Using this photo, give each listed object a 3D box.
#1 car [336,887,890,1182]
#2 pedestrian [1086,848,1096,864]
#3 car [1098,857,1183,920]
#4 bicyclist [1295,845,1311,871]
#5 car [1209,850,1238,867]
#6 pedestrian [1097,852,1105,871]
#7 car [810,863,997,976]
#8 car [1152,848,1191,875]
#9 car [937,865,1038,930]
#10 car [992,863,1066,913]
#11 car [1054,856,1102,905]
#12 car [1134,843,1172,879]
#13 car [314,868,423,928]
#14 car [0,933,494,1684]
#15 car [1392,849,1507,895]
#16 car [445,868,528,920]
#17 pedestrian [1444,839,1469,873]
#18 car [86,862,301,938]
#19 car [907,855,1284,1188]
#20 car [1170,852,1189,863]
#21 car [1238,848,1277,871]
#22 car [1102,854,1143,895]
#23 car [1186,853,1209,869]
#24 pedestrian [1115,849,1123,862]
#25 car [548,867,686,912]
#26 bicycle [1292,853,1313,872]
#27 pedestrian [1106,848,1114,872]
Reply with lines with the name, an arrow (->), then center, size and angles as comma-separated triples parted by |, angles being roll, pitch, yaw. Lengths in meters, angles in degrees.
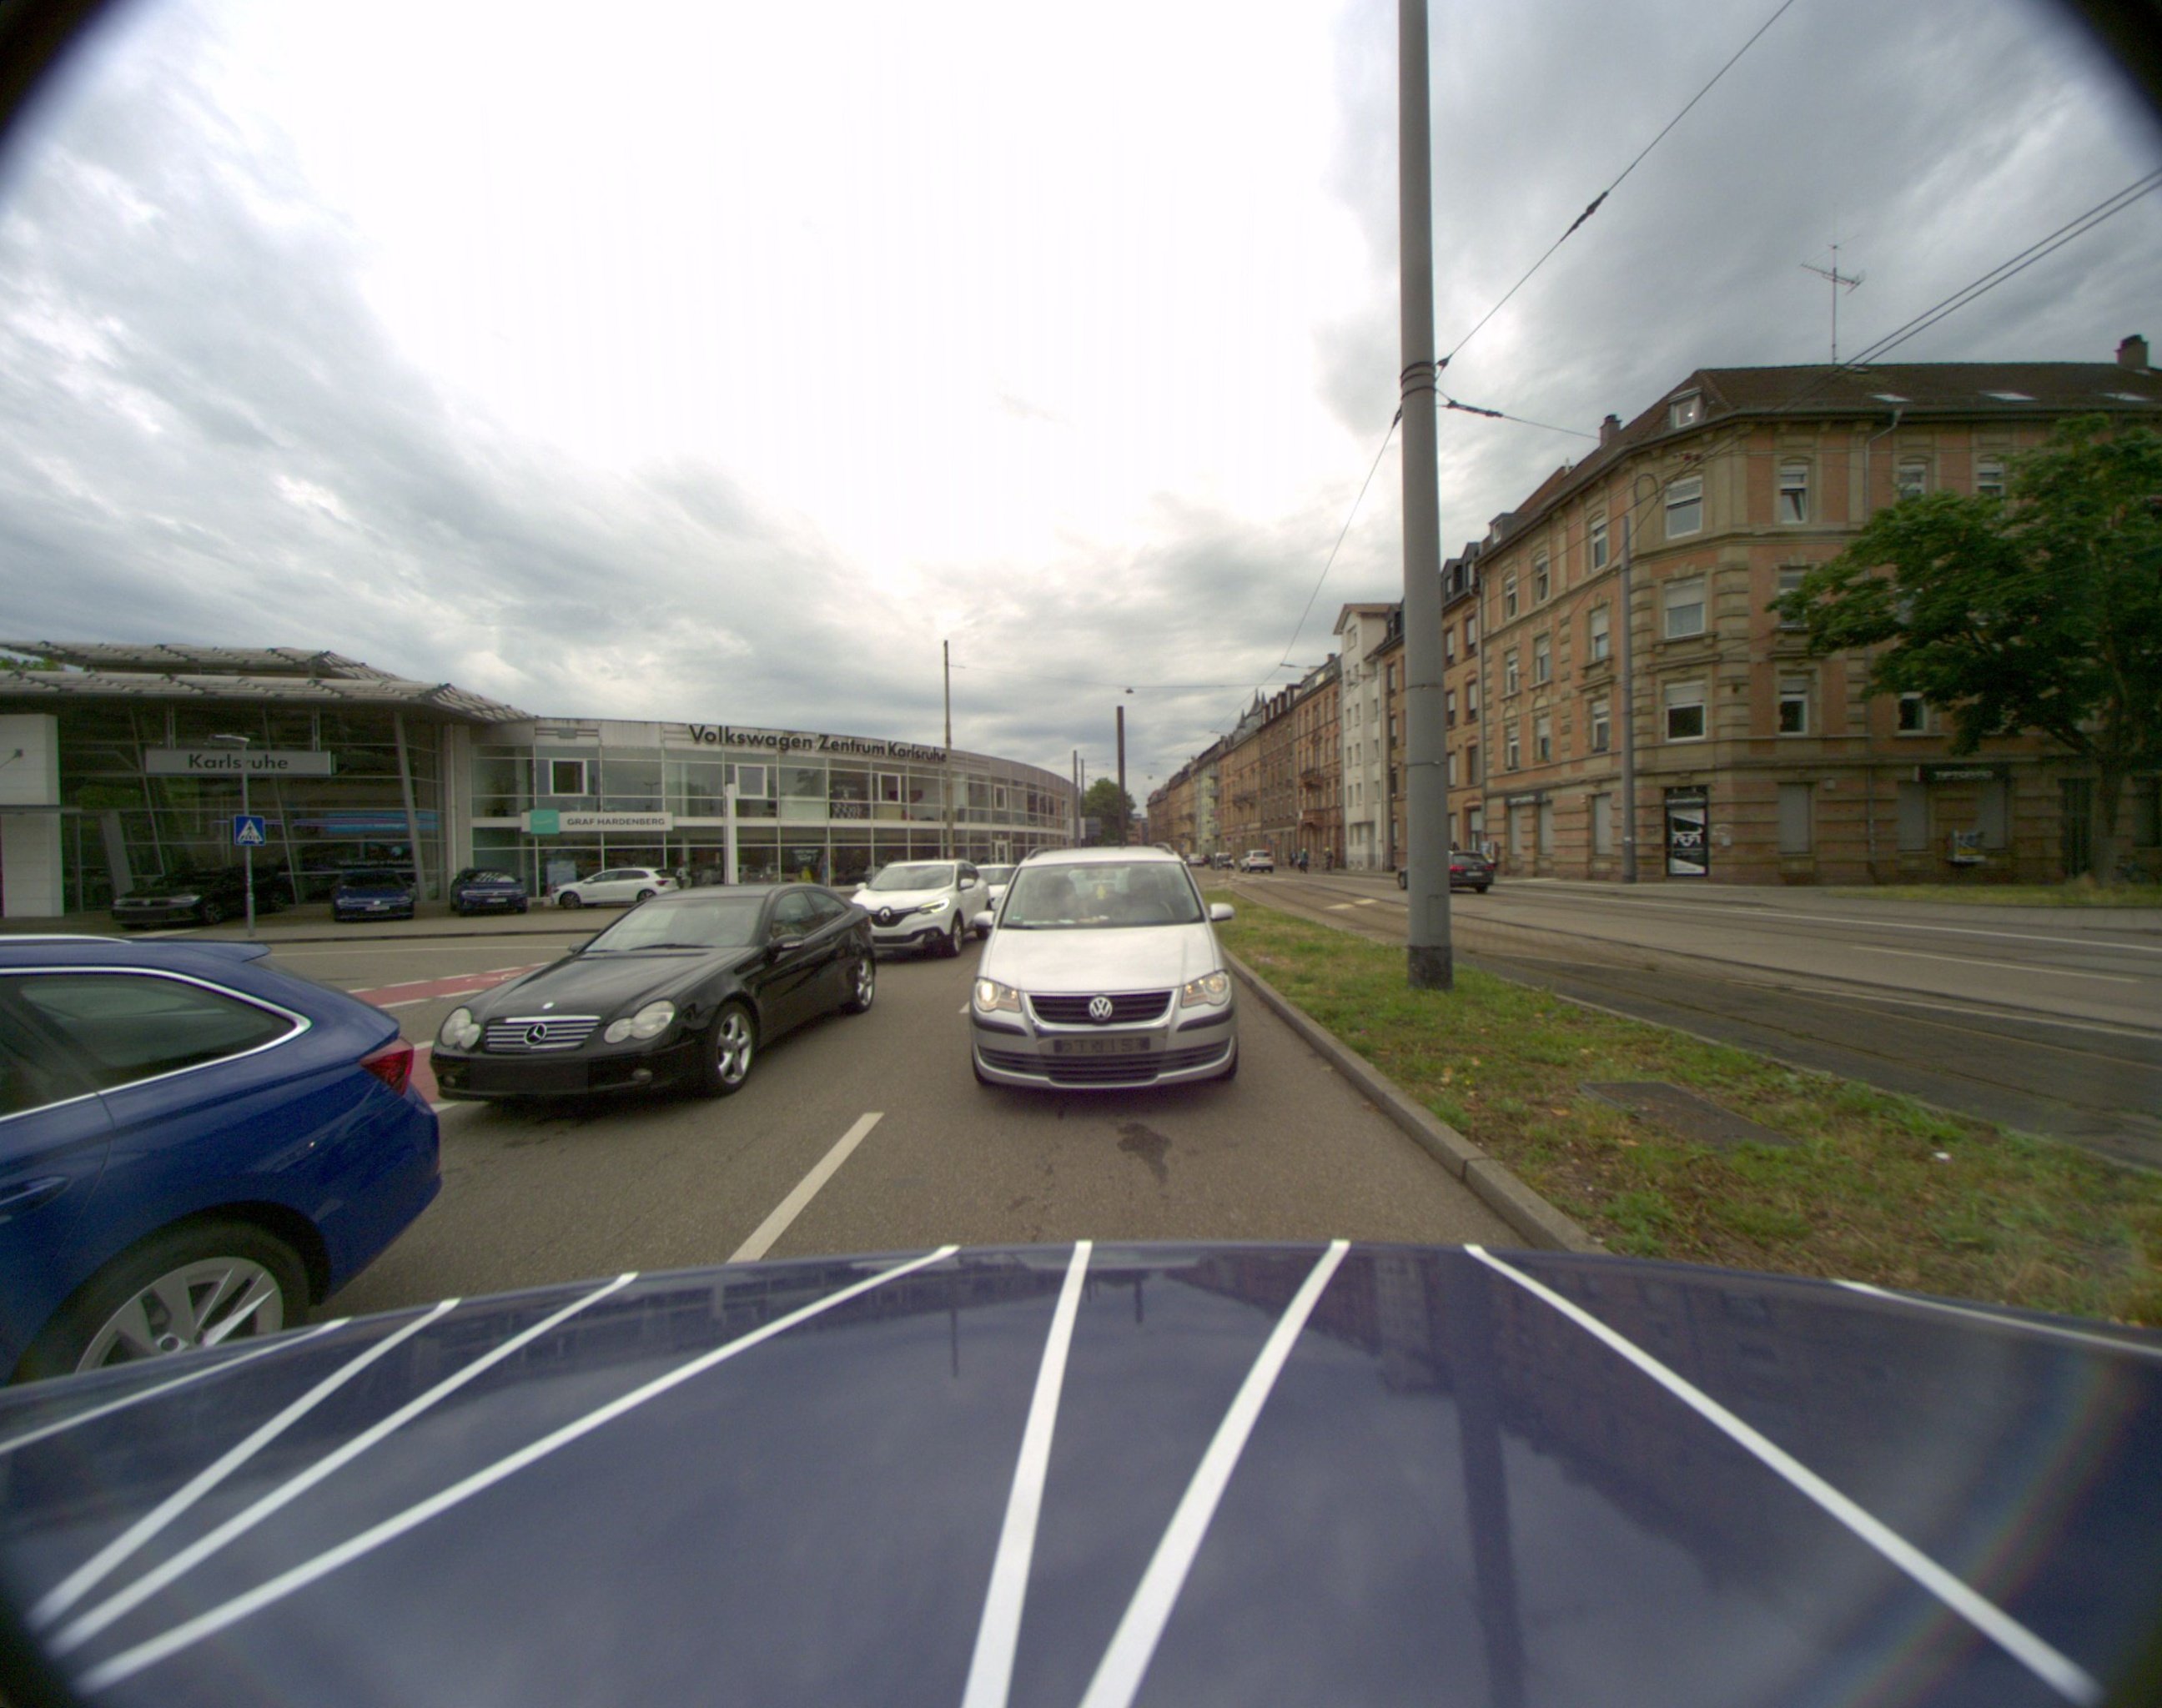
car -> -3.148, 1.099, 6.412 | 1.769, 1.362, 4.422 | -2, 0, 2
pedestrian -> 1.280, 0.231, 95.936 | 1.177, 2.002, 1.032 | -1, 1, 1
car -> 1.561, 0.823, 19.957 | 1.972, 1.447, 4.194 | -1, 0, 5
bicyclist -> 15.843, 0.298, 54.196 | 0.824, 1.856, 0.924 | -1, 1, 1
car -> 13.015, 0.395, 69.774 | 1.815, 1.423, 4.017 | -1, 0, -1
pedestrian -> 1.683, 0.634, 65.237 | 0.663, 1.671, 0.650 | -1, 1, 1
car -> -2.804, 0.977, 13.085 | 1.982, 1.550, 4.146 | -1, 0, 4
car -> 6.256, 0.500, 52.912 | 2.372, 1.744, 5.130 | -1, 0, 4
car -> -2.313, 1.047, 19.866 | 1.907, 1.428, 3.973 | -1, 0, 4
car -> -1.616, 1.075, 25.122 | 1.907, 1.428, 3.973 | -1, 0, 4
car -> -0.095, 1.128, 34.125 | 1.998, 2.002, 4.000 | -1, 0, 1
car -> 4.286, 0.389, 45.884 | 1.998, 2.002, 4.000 | -1, 0, 1
car -> -22.243, 1.305, 23.888 | 1.961, 1.517, 4.218 | -1, 2, -36
car -> -3.180, 1.055, 0.513 | 1.770, 1.428, 4.757 | -2, 0, 1
car -> 13.047, 0.586, 27.249 | 1.888, 1.461, 4.463 | -1, 0, -1
car -> -20.037, 1.269, 25.556 | 1.795, 1.552, 4.023 | -2, 1, -44
pedestrian -> 18.958, 0.111, 38.374 | 0.812, 1.666, 0.798 | -1, 1, -3
car -> -26.495, 1.274, 22.996 | 1.959, 1.635, 4.664 | -1, 5, -17
car -> 0.131, 0.858, 6.368 | 1.863, 1.609, 5.062 | -2, 0, 1
car -> 13.565, 0.425, 104.723 | 1.819, 1.500, 4.574 | -1, 0, -1
car -> 13.085, 0.372, 56.454 | 1.835, 1.635, 4.230 | -1, 0, -1
car -> 2.100, 1.006, 39.629 | 1.998, 2.002, 4.000 | -1, 0, 1
car -> 13.191, 0.806, 86.214 | 1.896, 1.693, 4.232 | -1, 0, -1
pedestrian -> 5.690, 0.190, 114.010 | 1.004, 2.002, 0.908 | -1, 1, 1
car -> -16.897, 1.270, 27.855 | 3.907, 1.433, 1.731 | -1, 1, -9
bicycle -> 15.861, 0.590, 54.370 | 0.798, 1.285, 2.411 | -1, 0, 1
pedestrian -> 2.410, 0.504, 62.690 | 0.652, 1.904, 0.602 | -1, 1, 1
